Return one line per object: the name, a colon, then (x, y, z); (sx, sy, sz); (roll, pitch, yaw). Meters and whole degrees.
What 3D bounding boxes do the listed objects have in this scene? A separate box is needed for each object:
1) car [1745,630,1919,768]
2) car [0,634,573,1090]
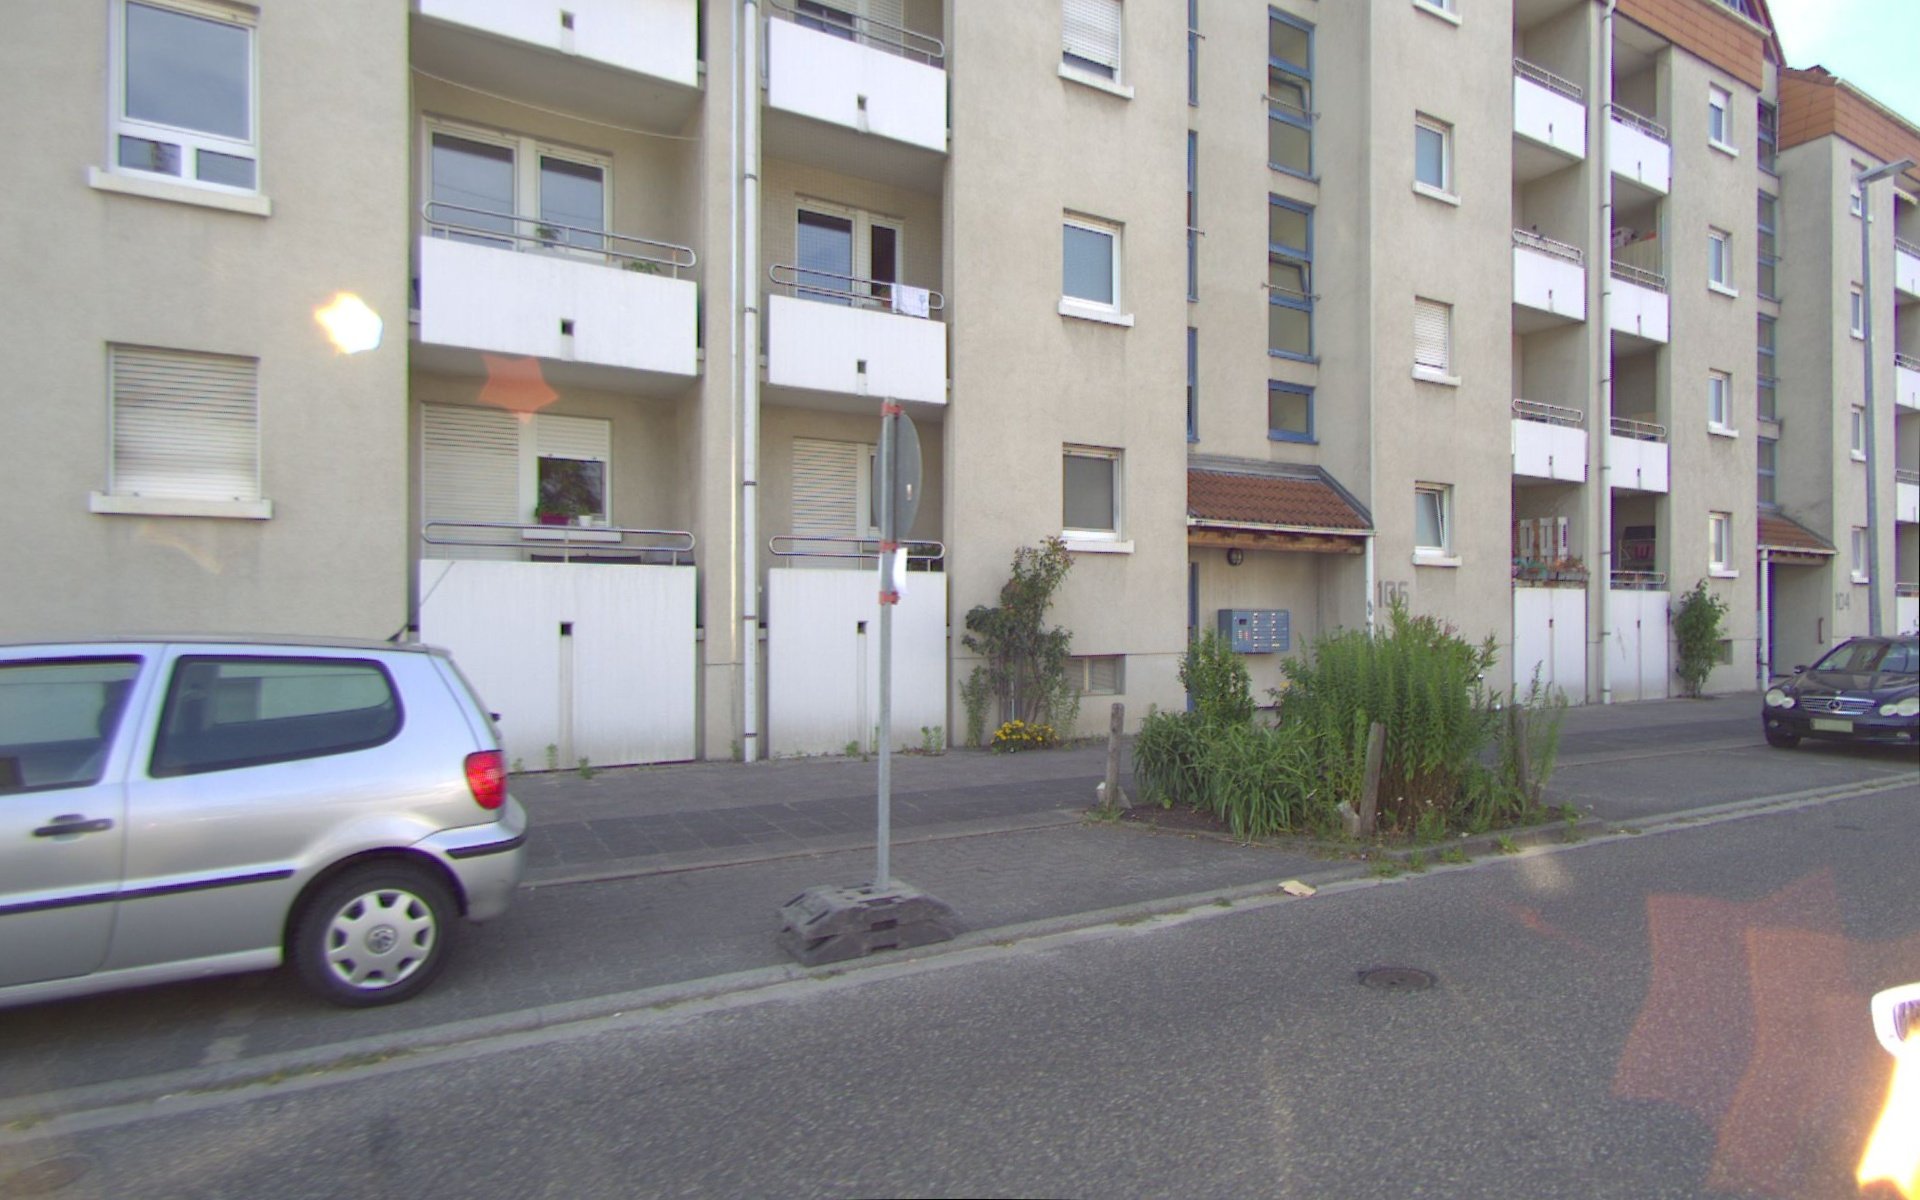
car: (11.701, 1.119, 12.522); (4.036, 1.424, 1.678); (1, 0, -31)
car: (-3.548, 0.870, 3.895); (3.628, 1.414, 1.632); (1, 0, -30)
